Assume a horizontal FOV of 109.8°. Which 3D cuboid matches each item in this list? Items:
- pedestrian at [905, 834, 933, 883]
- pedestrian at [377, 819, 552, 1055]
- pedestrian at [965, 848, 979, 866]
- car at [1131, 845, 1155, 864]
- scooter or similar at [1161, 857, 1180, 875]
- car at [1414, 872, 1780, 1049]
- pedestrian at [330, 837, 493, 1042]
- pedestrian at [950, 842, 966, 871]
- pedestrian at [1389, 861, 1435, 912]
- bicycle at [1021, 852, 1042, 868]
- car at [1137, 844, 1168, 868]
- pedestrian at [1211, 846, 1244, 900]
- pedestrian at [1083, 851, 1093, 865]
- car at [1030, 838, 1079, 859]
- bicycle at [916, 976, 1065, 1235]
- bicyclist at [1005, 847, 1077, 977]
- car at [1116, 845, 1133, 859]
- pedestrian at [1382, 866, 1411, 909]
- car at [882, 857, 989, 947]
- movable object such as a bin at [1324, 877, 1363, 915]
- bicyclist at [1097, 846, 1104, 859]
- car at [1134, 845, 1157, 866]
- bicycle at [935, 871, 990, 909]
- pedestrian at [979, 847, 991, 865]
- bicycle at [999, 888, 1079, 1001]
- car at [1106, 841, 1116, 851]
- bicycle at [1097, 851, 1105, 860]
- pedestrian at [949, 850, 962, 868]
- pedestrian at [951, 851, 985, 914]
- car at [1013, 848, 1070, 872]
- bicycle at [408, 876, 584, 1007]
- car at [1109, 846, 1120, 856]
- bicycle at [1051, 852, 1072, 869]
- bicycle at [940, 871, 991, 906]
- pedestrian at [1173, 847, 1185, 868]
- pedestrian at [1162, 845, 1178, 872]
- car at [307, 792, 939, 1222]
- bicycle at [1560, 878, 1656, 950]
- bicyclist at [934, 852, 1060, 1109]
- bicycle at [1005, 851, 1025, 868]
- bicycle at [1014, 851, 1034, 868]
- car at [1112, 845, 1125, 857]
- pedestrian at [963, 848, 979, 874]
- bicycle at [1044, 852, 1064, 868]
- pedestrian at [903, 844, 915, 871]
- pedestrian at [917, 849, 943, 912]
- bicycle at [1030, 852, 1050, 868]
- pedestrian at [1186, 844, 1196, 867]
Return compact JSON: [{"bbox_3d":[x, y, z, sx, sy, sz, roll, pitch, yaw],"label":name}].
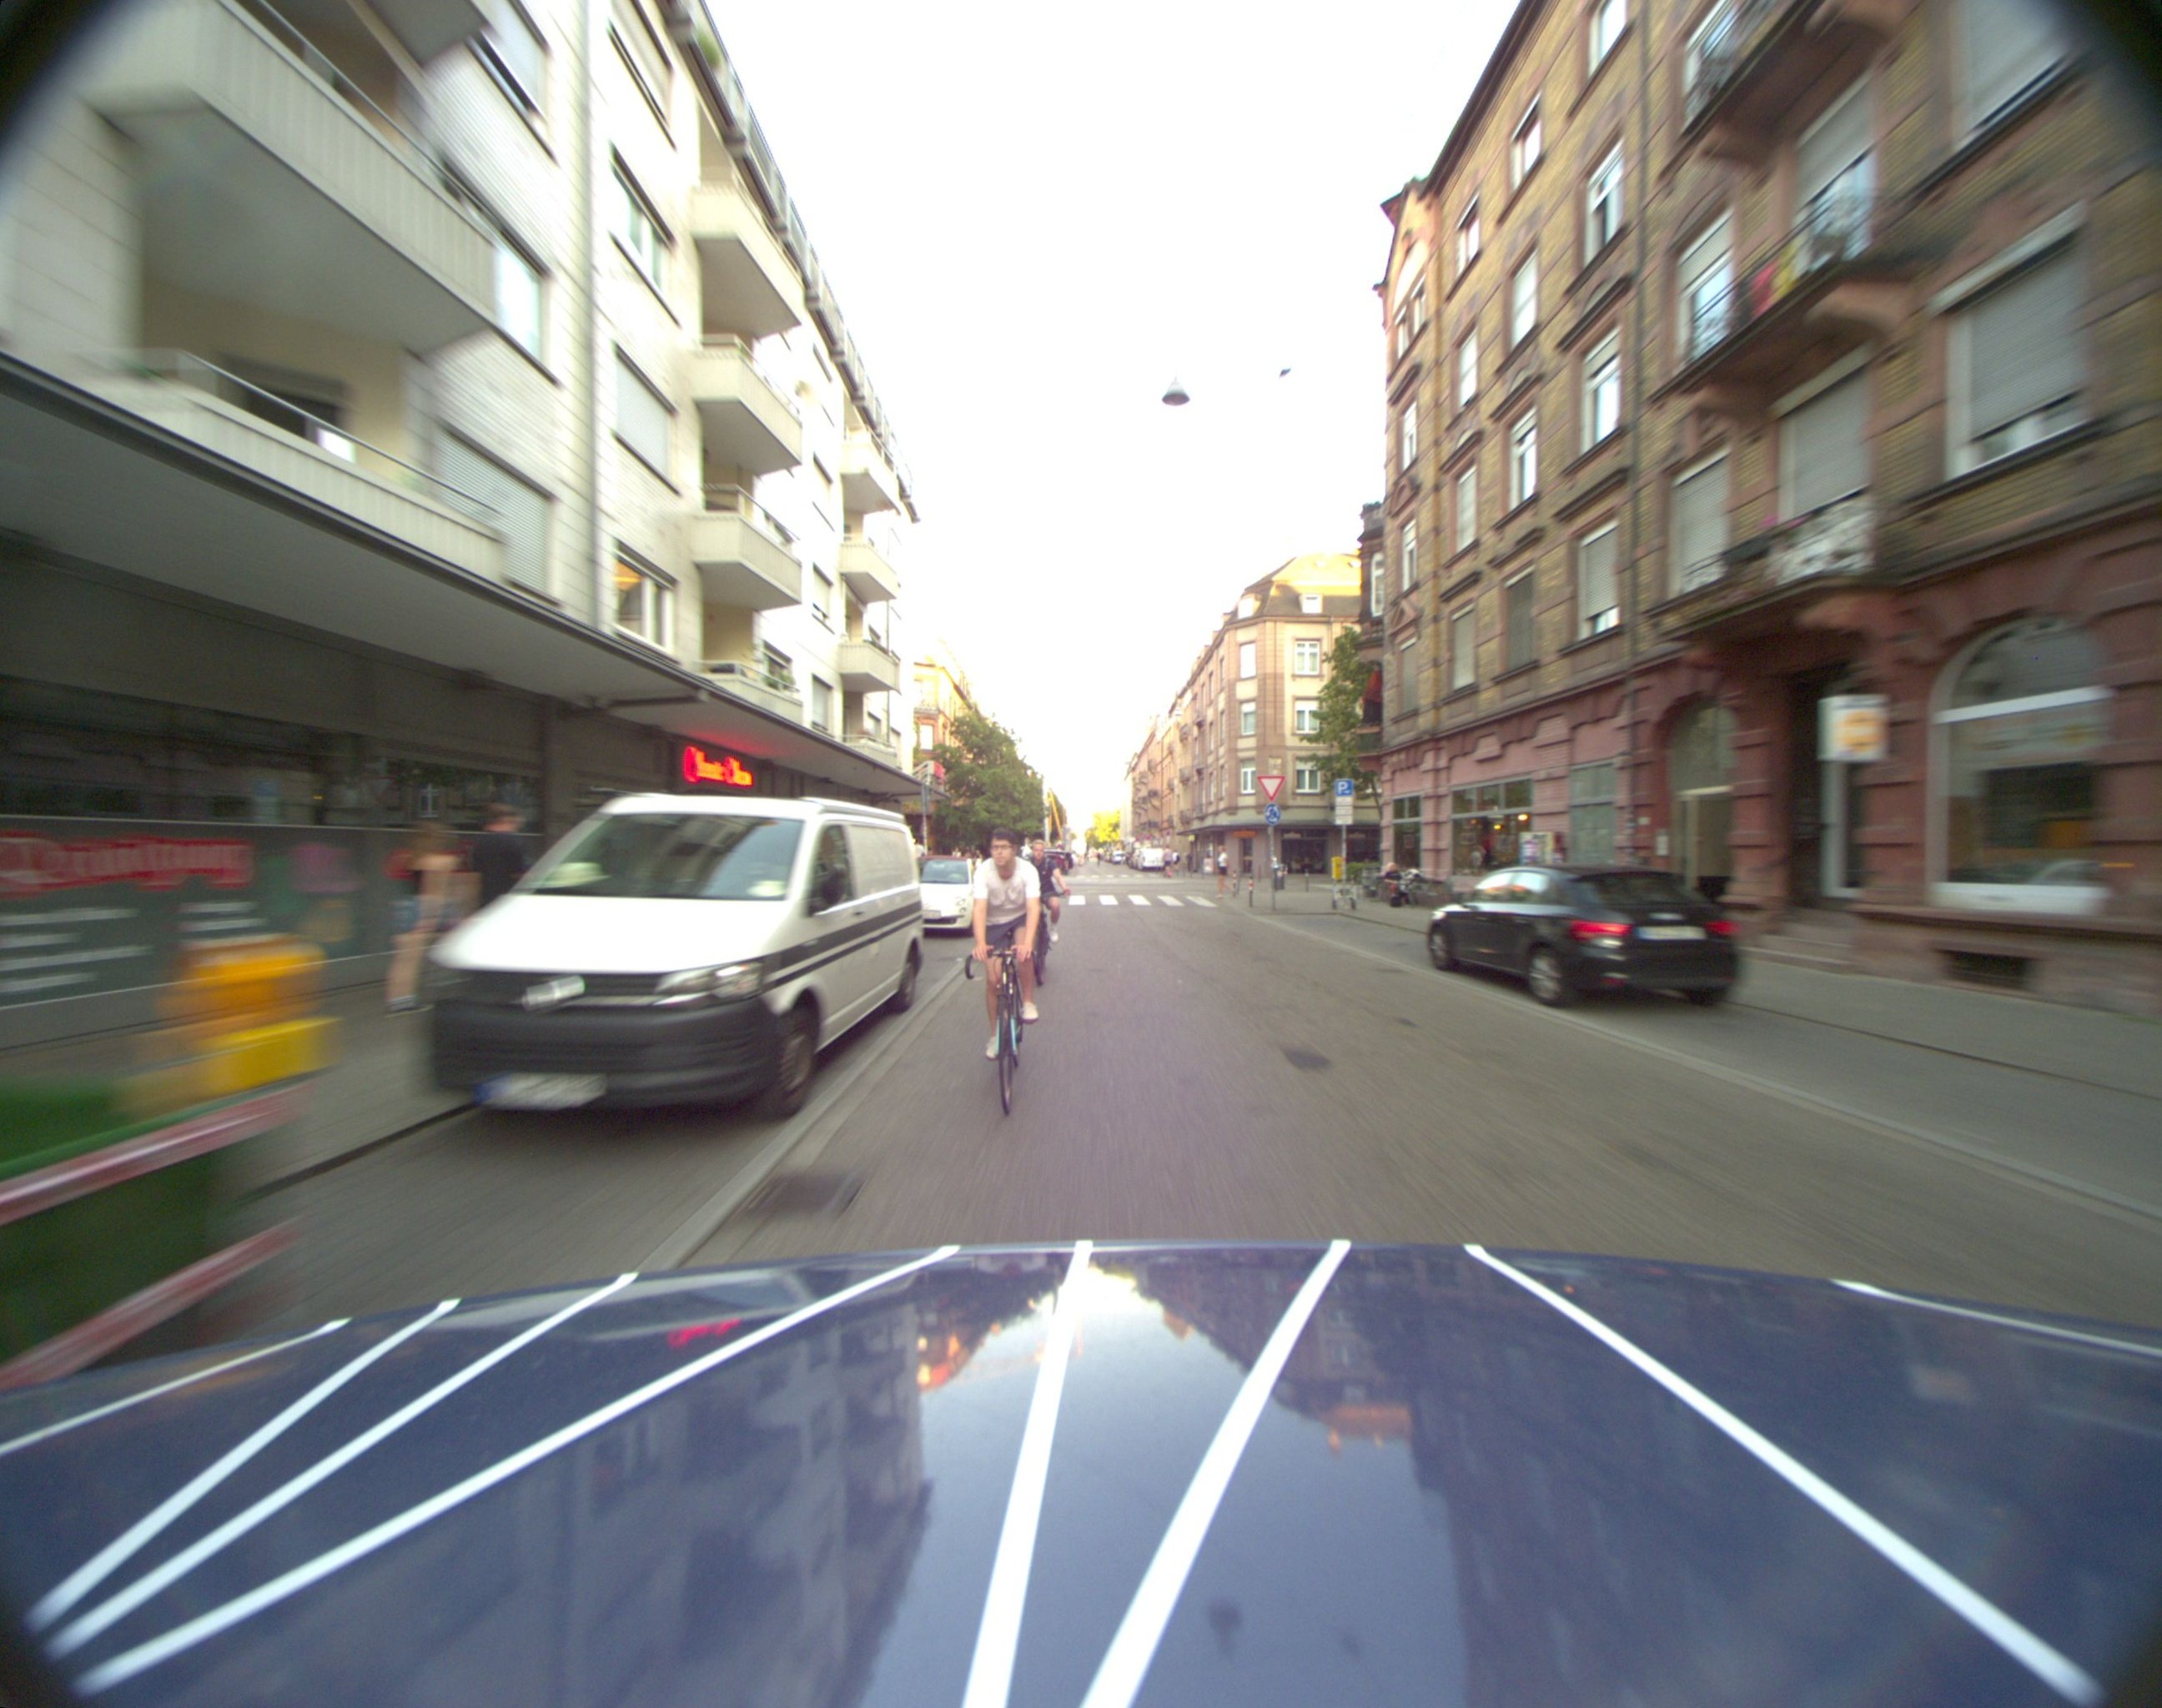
[{"bbox_3d":[-6.388,0.166,29.994,0.763,1.901,1.190,2,1,0],"label":"pedestrian"},{"bbox_3d":[-5.051,0.634,6.291,0.710,1.818,0.860,1,3,-1],"label":"pedestrian"},{"bbox_3d":[-7.935,0.240,55.225,0.639,1.265,0.676,1,3,38],"label":"pedestrian"},{"bbox_3d":[6.367,-0.011,78.364,2.141,1.811,4.539,-1,1,1],"label":"car"},{"bbox_3d":[5.513,0.752,46.859,0.810,1.098,1.171,0,1,-10],"label":"scooter or similar"},{"bbox_3d":[5.430,0.998,8.688,1.697,1.412,3.854,-1,1,3],"label":"car"},{"bbox_3d":[-5.743,0.693,6.566,0.710,1.656,0.744,1,3,-1],"label":"pedestrian"},{"bbox_3d":[-8.042,0.146,49.536,0.673,1.858,0.911,0,3,14],"label":"pedestrian"},{"bbox_3d":[8.695,0.840,19.980,0.650,1.247,0.907,-4,1,-15],"label":"pedestrian"},{"bbox_3d":[-3.686,0.417,56.358,0.666,1.125,2.110,1,1,-28],"label":"bicycle"},{"bbox_3d":[6.180,0.165,66.215,2.141,1.947,4.767,-1,1,-2],"label":"car"},{"bbox_3d":[5.054,0.650,26.208,1.047,1.800,0.756,-1,-1,11],"label":"pedestrian"},{"bbox_3d":[1.199,0.634,133.573,1.394,2.465,1.237,0,2,17],"label":"pedestrian"},{"bbox_3d":[-3.053,-0.669,88.462,5.153,2.182,2.333,-2,3,-25],"label":"car"},{"bbox_3d":[-0.503,1.503,5.005,0.658,1.012,1.917,-1,2,2],"label":"bicycle"},{"bbox_3d":[-0.485,0.699,9.589,0.794,1.562,0.826,-1,1,1],"label":"bicyclist"},{"bbox_3d":[6.116,-0.252,106.607,2.141,1.811,4.539,-1,1,0],"label":"car"},{"bbox_3d":[8.714,0.916,21.010,0.504,1.137,0.791,-1,3,1],"label":"pedestrian"},{"bbox_3d":[-2.796,0.856,15.218,1.597,1.492,3.422,1,1,-3],"label":"car"},{"bbox_3d":[6.903,1.089,19.998,0.763,0.911,0.729,-1,2,-4],"label":"movable object such as a bin"},{"bbox_3d":[2.588,-0.185,98.826,0.754,1.631,1.200,-1,1,-6],"label":"bicyclist"},{"bbox_3d":[6.102,0.119,72.336,1.879,1.893,4.325,-1,1,1],"label":"car"},{"bbox_3d":[-3.389,1.015,21.779,1.482,0.996,0.511,2,2,6],"label":"bicycle"},{"bbox_3d":[-7.167,0.157,56.837,0.722,1.298,0.750,-1,1,-20],"label":"pedestrian"},{"bbox_3d":[-0.473,1.065,9.691,0.794,1.133,2.343,-1,0,1],"label":"bicycle"},{"bbox_3d":[5.765,-1.509,146.957,1.908,1.729,3.849,-1,2,3],"label":"car"},{"bbox_3d":[2.598,0.222,98.833,0.754,1.124,1.975,-1,1,-6],"label":"bicycle"},{"bbox_3d":[-8.864,0.336,53.551,0.676,1.265,0.639,-2,3,-28],"label":"pedestrian"},{"bbox_3d":[-2.936,0.728,19.711,0.649,1.591,0.590,0,2,-40],"label":"pedestrian"},{"bbox_3d":[-3.099,0.458,59.838,4.006,1.659,1.823,-2,3,-31],"label":"car"},{"bbox_3d":[-6.349,0.891,8.380,0.913,1.189,1.708,1,2,-14],"label":"bicycle"},{"bbox_3d":[6.242,-0.606,141.356,1.868,1.729,3.799,-1,2,3],"label":"car"},{"bbox_3d":[-1.468,0.470,57.417,0.666,1.162,2.110,1,1,-28],"label":"bicycle"},{"bbox_3d":[-3.376,1.005,22.235,1.421,0.978,0.510,1,2,-3],"label":"bicycle"},{"bbox_3d":[8.082,0.290,62.750,0.747,1.734,1.214,-1,2,17],"label":"pedestrian"},{"bbox_3d":[5.501,0.258,46.930,0.810,1.650,0.672,0,1,-10],"label":"pedestrian"},{"bbox_3d":[-2.604,0.690,6.035,1.964,1.962,5.001,1,1,0],"label":"car"},{"bbox_3d":[8.987,0.985,13.052,0.426,1.047,1.898,-1,1,3],"label":"bicycle"},{"bbox_3d":[-0.509,0.756,4.990,0.650,1.500,0.953,-1,3,2],"label":"bicyclist"},{"bbox_3d":[-4.870,0.390,55.753,0.666,1.159,2.110,1,1,-28],"label":"bicycle"},{"bbox_3d":[-4.208,0.395,56.068,0.666,1.159,2.110,1,1,-28],"label":"bicycle"},{"bbox_3d":[5.984,-0.461,121.244,1.998,1.729,3.999,-1,2,3],"label":"car"},{"bbox_3d":[-6.906,0.424,47.740,0.537,1.598,0.870,1,0,26],"label":"pedestrian"},{"bbox_3d":[-2.036,0.455,57.540,0.666,1.162,2.110,1,1,-28],"label":"bicycle"},{"bbox_3d":[-11.533,0.225,50.954,0.675,1.736,0.640,-1,3,-9],"label":"pedestrian"},{"bbox_3d":[-3.971,0.683,20.016,0.562,1.622,0.726,1,1,-7],"label":"pedestrian"},{"bbox_3d":[-3.093,0.442,56.720,0.666,1.125,2.110,1,1,-28],"label":"bicycle"},{"bbox_3d":[8.462,0.110,58.326,0.654,1.768,0.693,-1,1,18],"label":"pedestrian"}]
